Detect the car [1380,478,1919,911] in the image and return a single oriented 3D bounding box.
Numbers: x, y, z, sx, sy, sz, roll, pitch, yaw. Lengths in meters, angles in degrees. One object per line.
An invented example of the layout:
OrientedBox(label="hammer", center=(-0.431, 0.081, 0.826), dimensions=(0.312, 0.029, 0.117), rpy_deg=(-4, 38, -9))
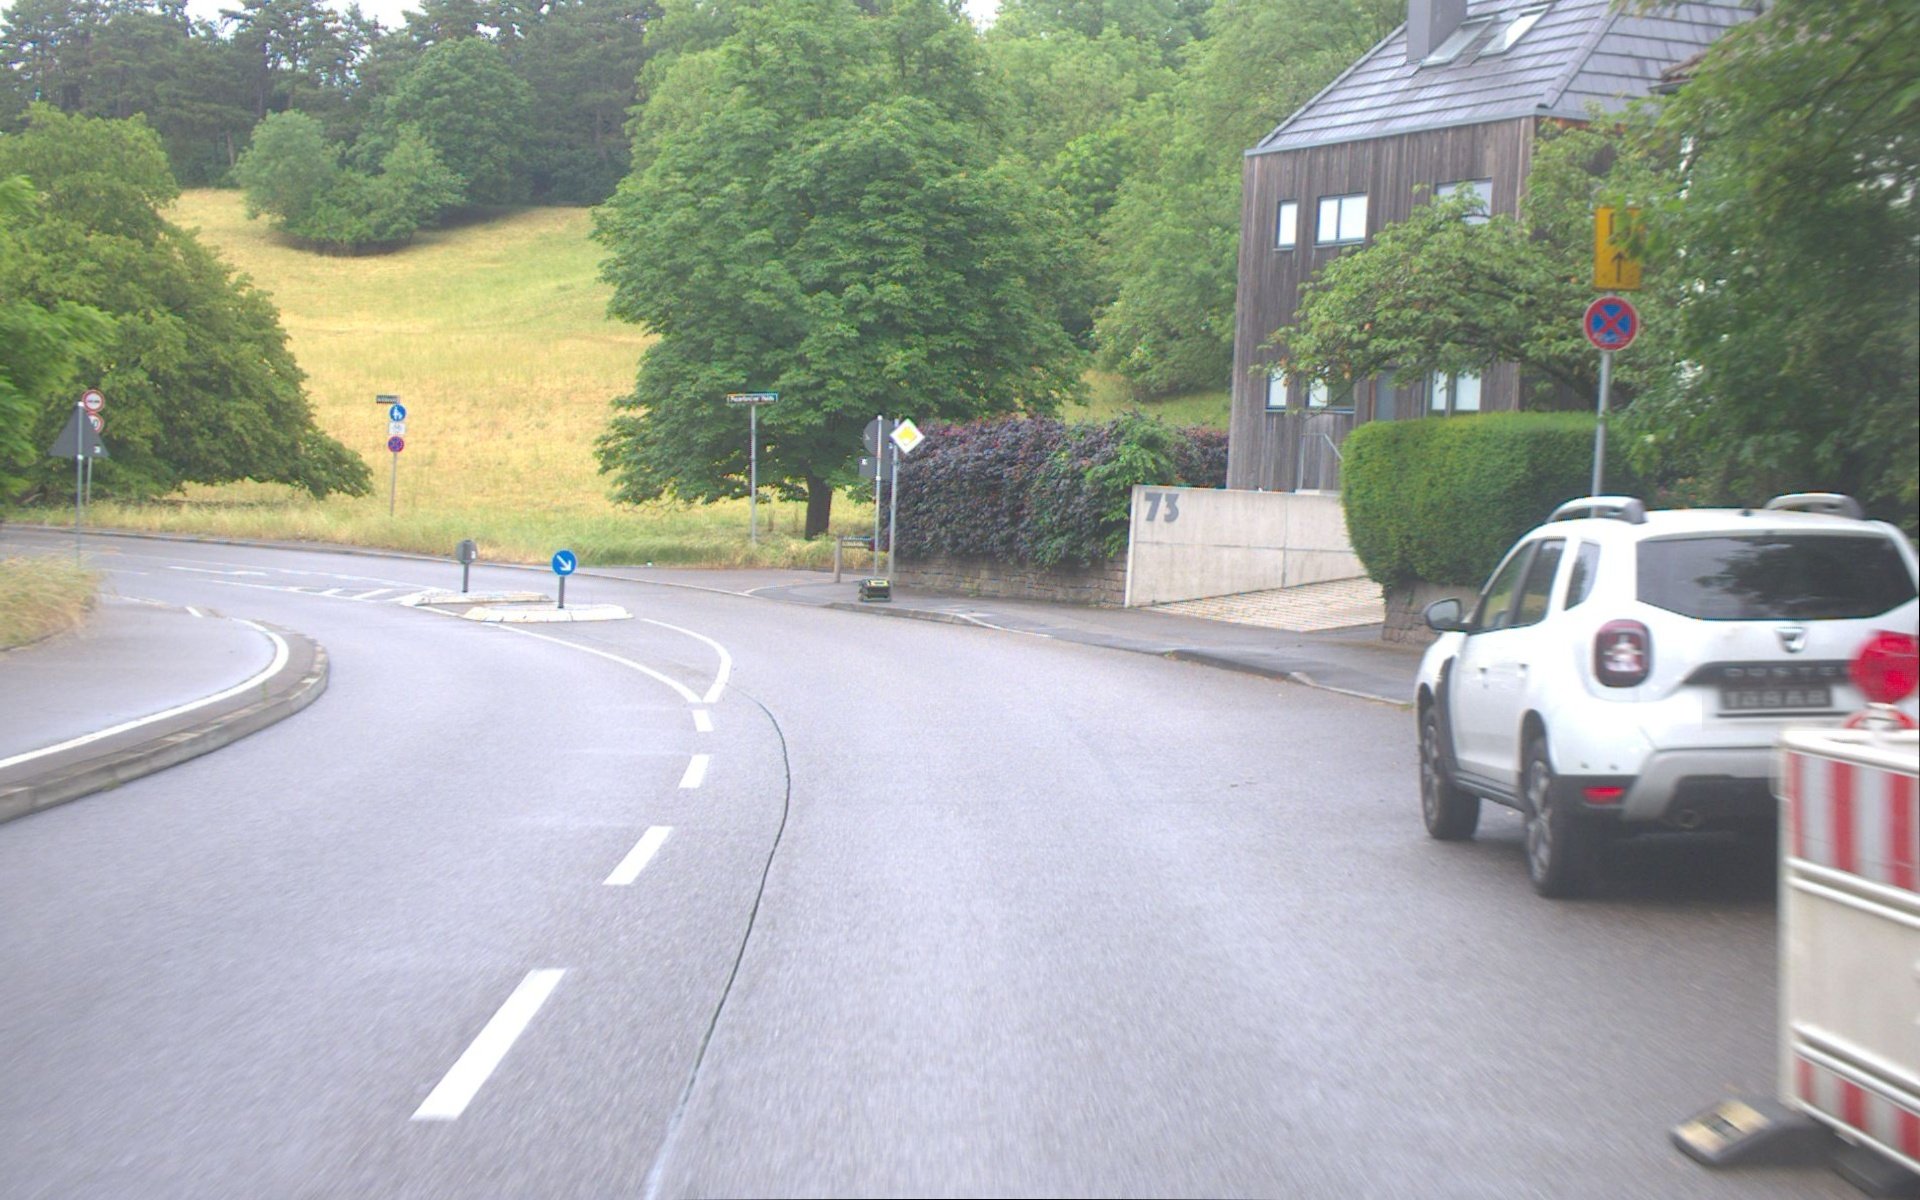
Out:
OrientedBox(label="car", center=(3.162, 0.322, 15.803), dimensions=(1.745, 1.700, 4.502), rpy_deg=(0, 1, -2))
